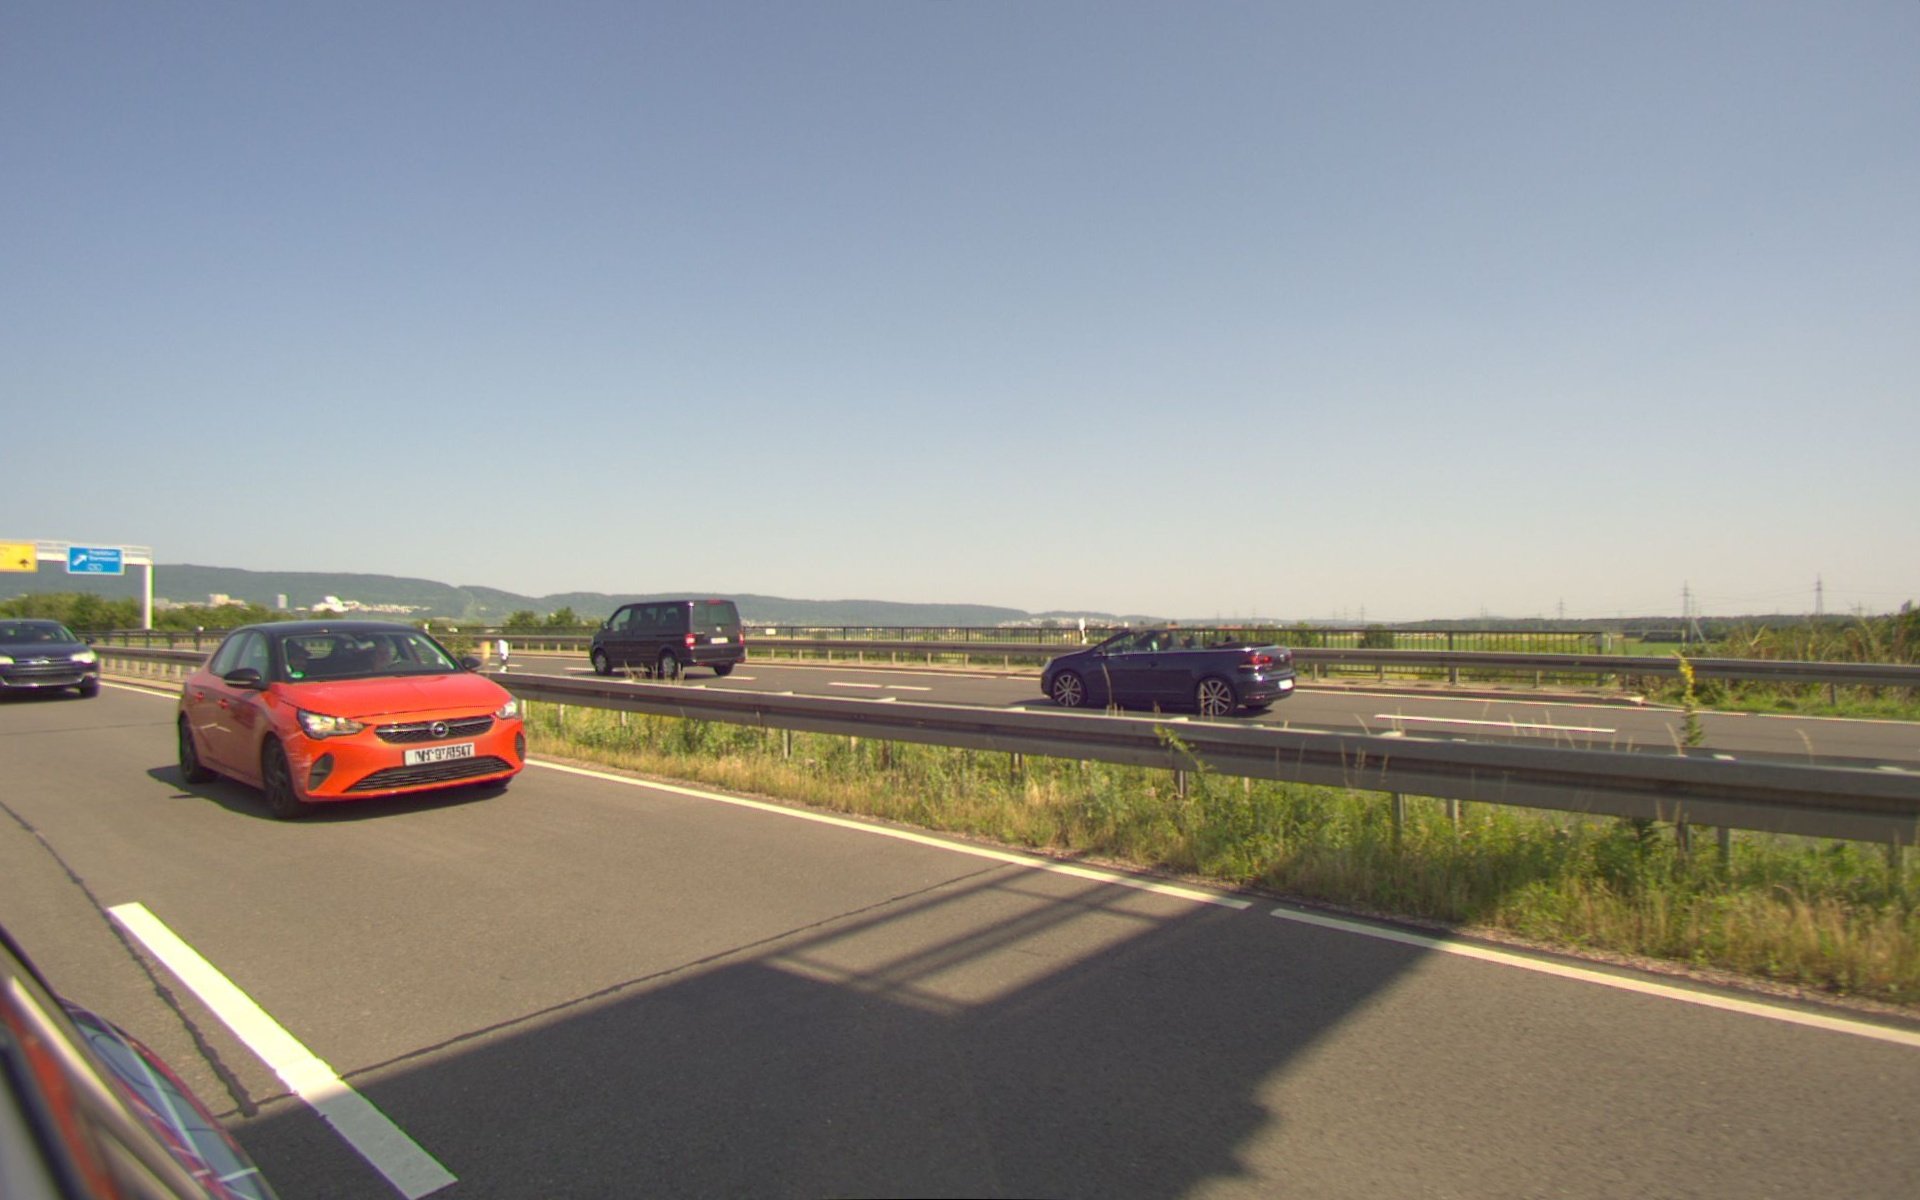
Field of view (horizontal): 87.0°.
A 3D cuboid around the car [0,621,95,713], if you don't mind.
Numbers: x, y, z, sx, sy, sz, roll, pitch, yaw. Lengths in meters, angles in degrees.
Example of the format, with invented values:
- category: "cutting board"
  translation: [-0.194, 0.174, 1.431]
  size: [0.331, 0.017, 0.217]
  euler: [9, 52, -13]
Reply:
- category: "car"
  translation: [-17.697, 1.222, 18.895]
  size: [4.373, 1.545, 1.765]
  euler: [-3, -2, 41]

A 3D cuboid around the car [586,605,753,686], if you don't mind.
- category: "car"
  translation: [-7.575, 1.144, 26.217]
  size: [4.412, 1.920, 1.974]
  euler: [-2, -2, 39]

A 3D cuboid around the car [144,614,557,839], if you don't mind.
- category: "car"
  translation: [-5.358, 0.898, 8.629]
  size: [4.408, 1.448, 1.692]
  euler: [-2, -2, 40]

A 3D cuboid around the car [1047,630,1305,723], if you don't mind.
- category: "car"
  translation: [3.354, 1.150, 16.074]
  size: [3.711, 1.279, 1.550]
  euler: [-2, -2, 39]
